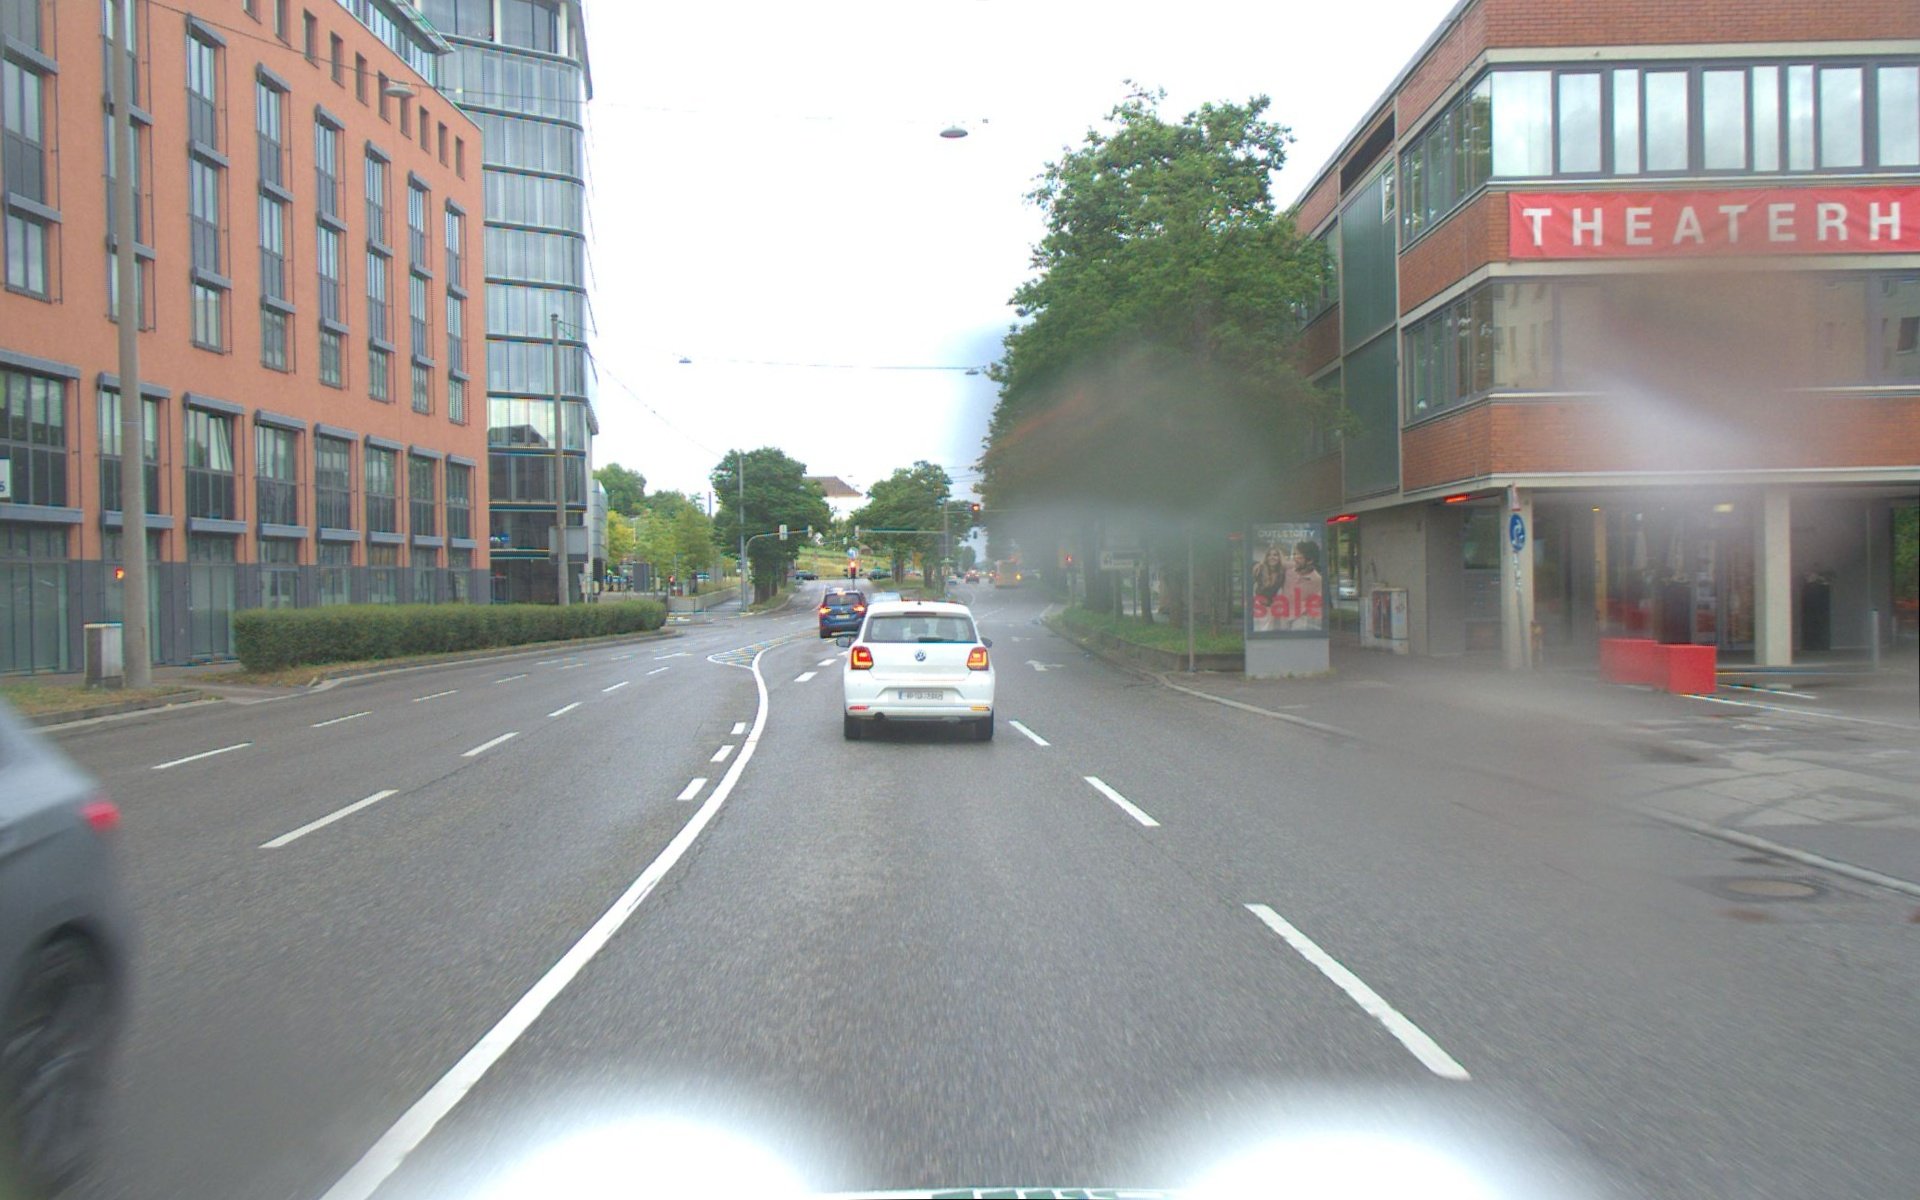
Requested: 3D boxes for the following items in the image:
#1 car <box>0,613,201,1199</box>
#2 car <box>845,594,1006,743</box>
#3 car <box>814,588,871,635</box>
[{"bbox_3d":[-2.996,0.753,2.823,1.678,1.389,3.998,-2,0,-3],"label":"car"},{"bbox_3d":[-0.463,0.692,18.891,1.638,1.499,3.777,-1,0,-3],"label":"car"},{"bbox_3d":[-4.257,0.396,60.582,1.954,1.601,3.998,-1,0,-3],"label":"car"}]
